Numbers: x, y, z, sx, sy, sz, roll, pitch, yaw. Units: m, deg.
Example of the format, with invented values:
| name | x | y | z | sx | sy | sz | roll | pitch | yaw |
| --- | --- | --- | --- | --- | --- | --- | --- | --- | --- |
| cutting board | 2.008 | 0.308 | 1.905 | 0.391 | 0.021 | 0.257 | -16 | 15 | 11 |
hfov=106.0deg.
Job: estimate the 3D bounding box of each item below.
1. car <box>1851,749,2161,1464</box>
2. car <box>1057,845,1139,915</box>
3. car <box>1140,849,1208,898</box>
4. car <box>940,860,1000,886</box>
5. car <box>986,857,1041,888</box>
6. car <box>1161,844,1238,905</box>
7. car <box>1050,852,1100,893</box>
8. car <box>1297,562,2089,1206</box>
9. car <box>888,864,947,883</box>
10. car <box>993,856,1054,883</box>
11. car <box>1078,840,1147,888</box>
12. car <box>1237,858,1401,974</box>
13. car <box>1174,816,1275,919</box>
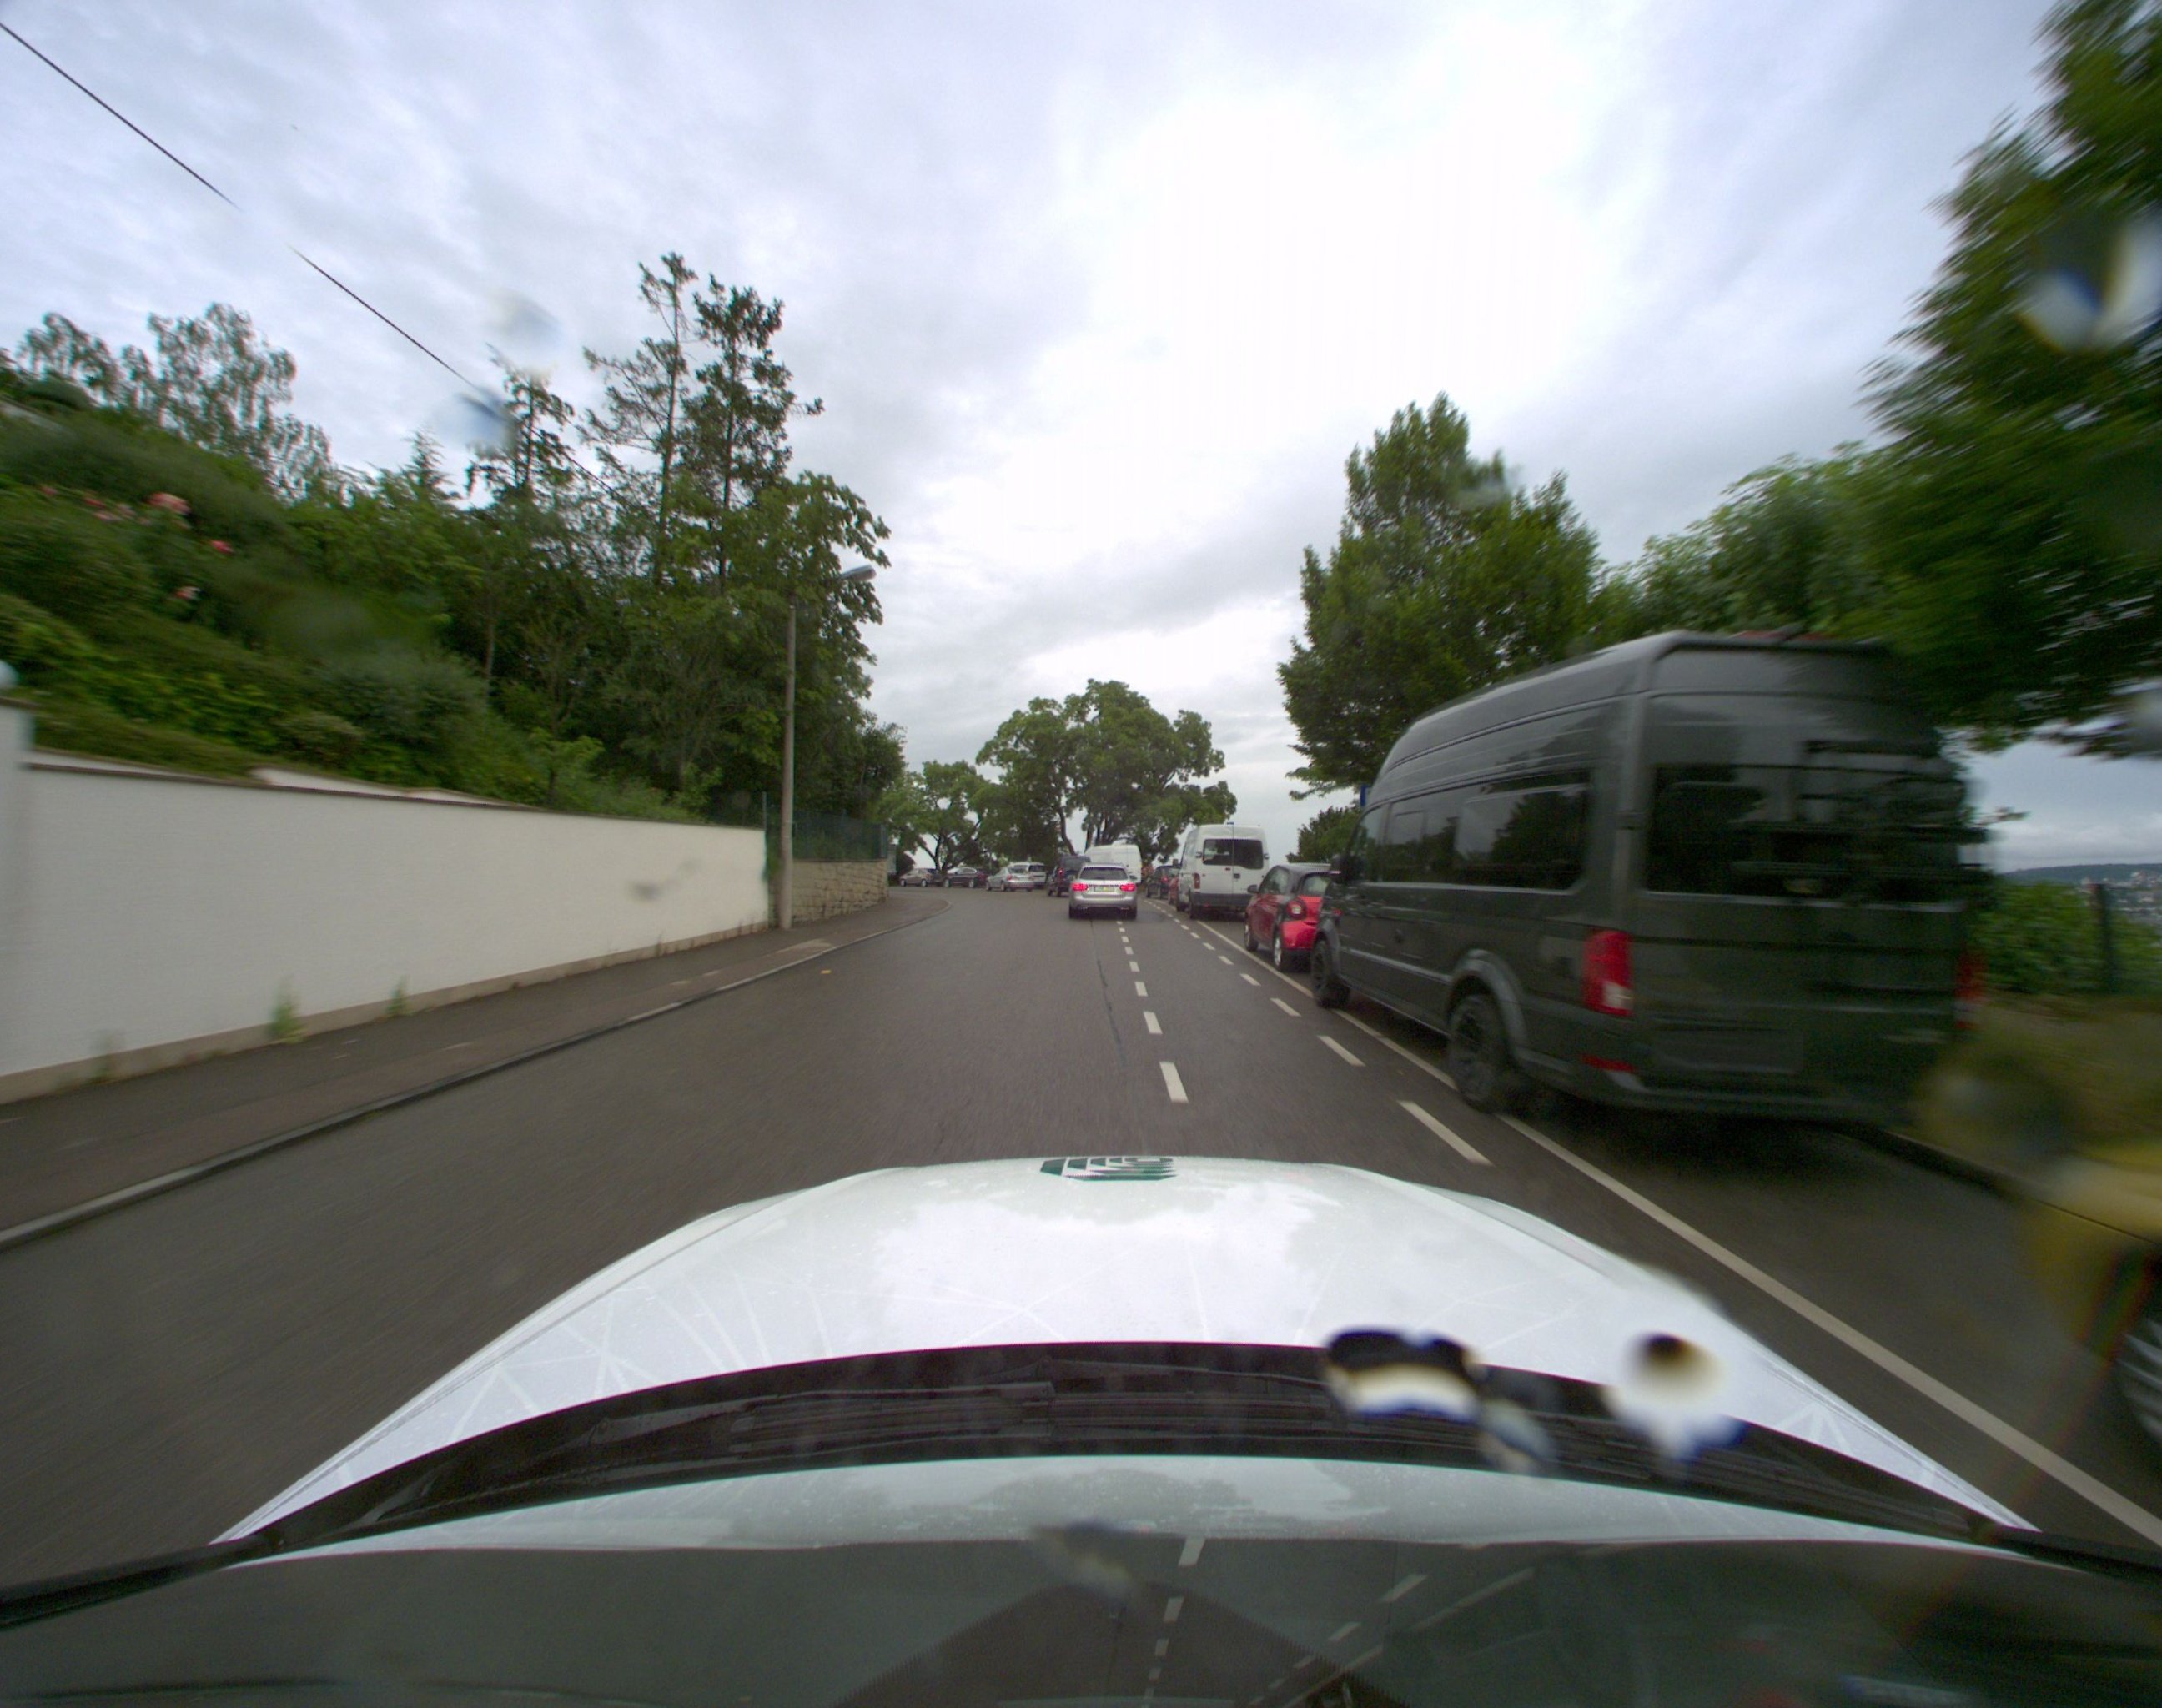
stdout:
| name | x | y | z | sx | sy | sz | roll | pitch | yaw |
| --- | --- | --- | --- | --- | --- | --- | --- | --- | --- |
| car | 3.541 | 0.665 | 0.720 | 1.721 | 1.785 | 4.277 | 4 | 0 | 2 |
| car | 0.474 | 0.657 | 22.399 | 2.018 | 1.708 | 4.216 | 1 | 0 | 1 |
| car | 4.061 | 0.816 | 36.301 | 2.061 | 1.960 | 4.487 | 2 | 0 | -6 |
| car | -8.158 | 1.368 | 59.835 | 1.981 | 1.698 | 4.613 | 2 | 0 | -44 |
| car | -3.975 | 1.075 | 47.318 | 2.002 | 1.708 | 3.969 | 2 | -2 | -23 |
| car | 4.171 | 0.704 | 29.441 | 2.058 | 1.960 | 4.495 | 2 | 0 | 0 |
| car | -0.342 | 0.837 | 36.984 | 1.990 | 1.708 | 3.994 | 1 | -2 | -4 |
| car | 3.591 | 0.149 | 6.627 | 2.117 | 2.887 | 5.769 | 2 | 0 | 1 |
| car | -12.775 | 1.554 | 63.521 | 4.438 | 1.402 | 1.983 | -2 | 0 | 36 |
| car | -3.995 | 1.035 | 56.166 | 1.980 | 1.698 | 4.445 | 2 | 0 | -39 |
| car | 1.706 | 0.536 | 45.827 | 2.134 | 2.527 | 4.462 | 2 | 0 | -23 |
| car | 3.598 | 0.854 | 12.926 | 1.577 | 1.527 | 3.586 | 2 | 0 | 1 |
| car | 3.847 | 0.351 | 22.673 | 2.056 | 2.494 | 4.761 | 2 | 0 | 2 |
